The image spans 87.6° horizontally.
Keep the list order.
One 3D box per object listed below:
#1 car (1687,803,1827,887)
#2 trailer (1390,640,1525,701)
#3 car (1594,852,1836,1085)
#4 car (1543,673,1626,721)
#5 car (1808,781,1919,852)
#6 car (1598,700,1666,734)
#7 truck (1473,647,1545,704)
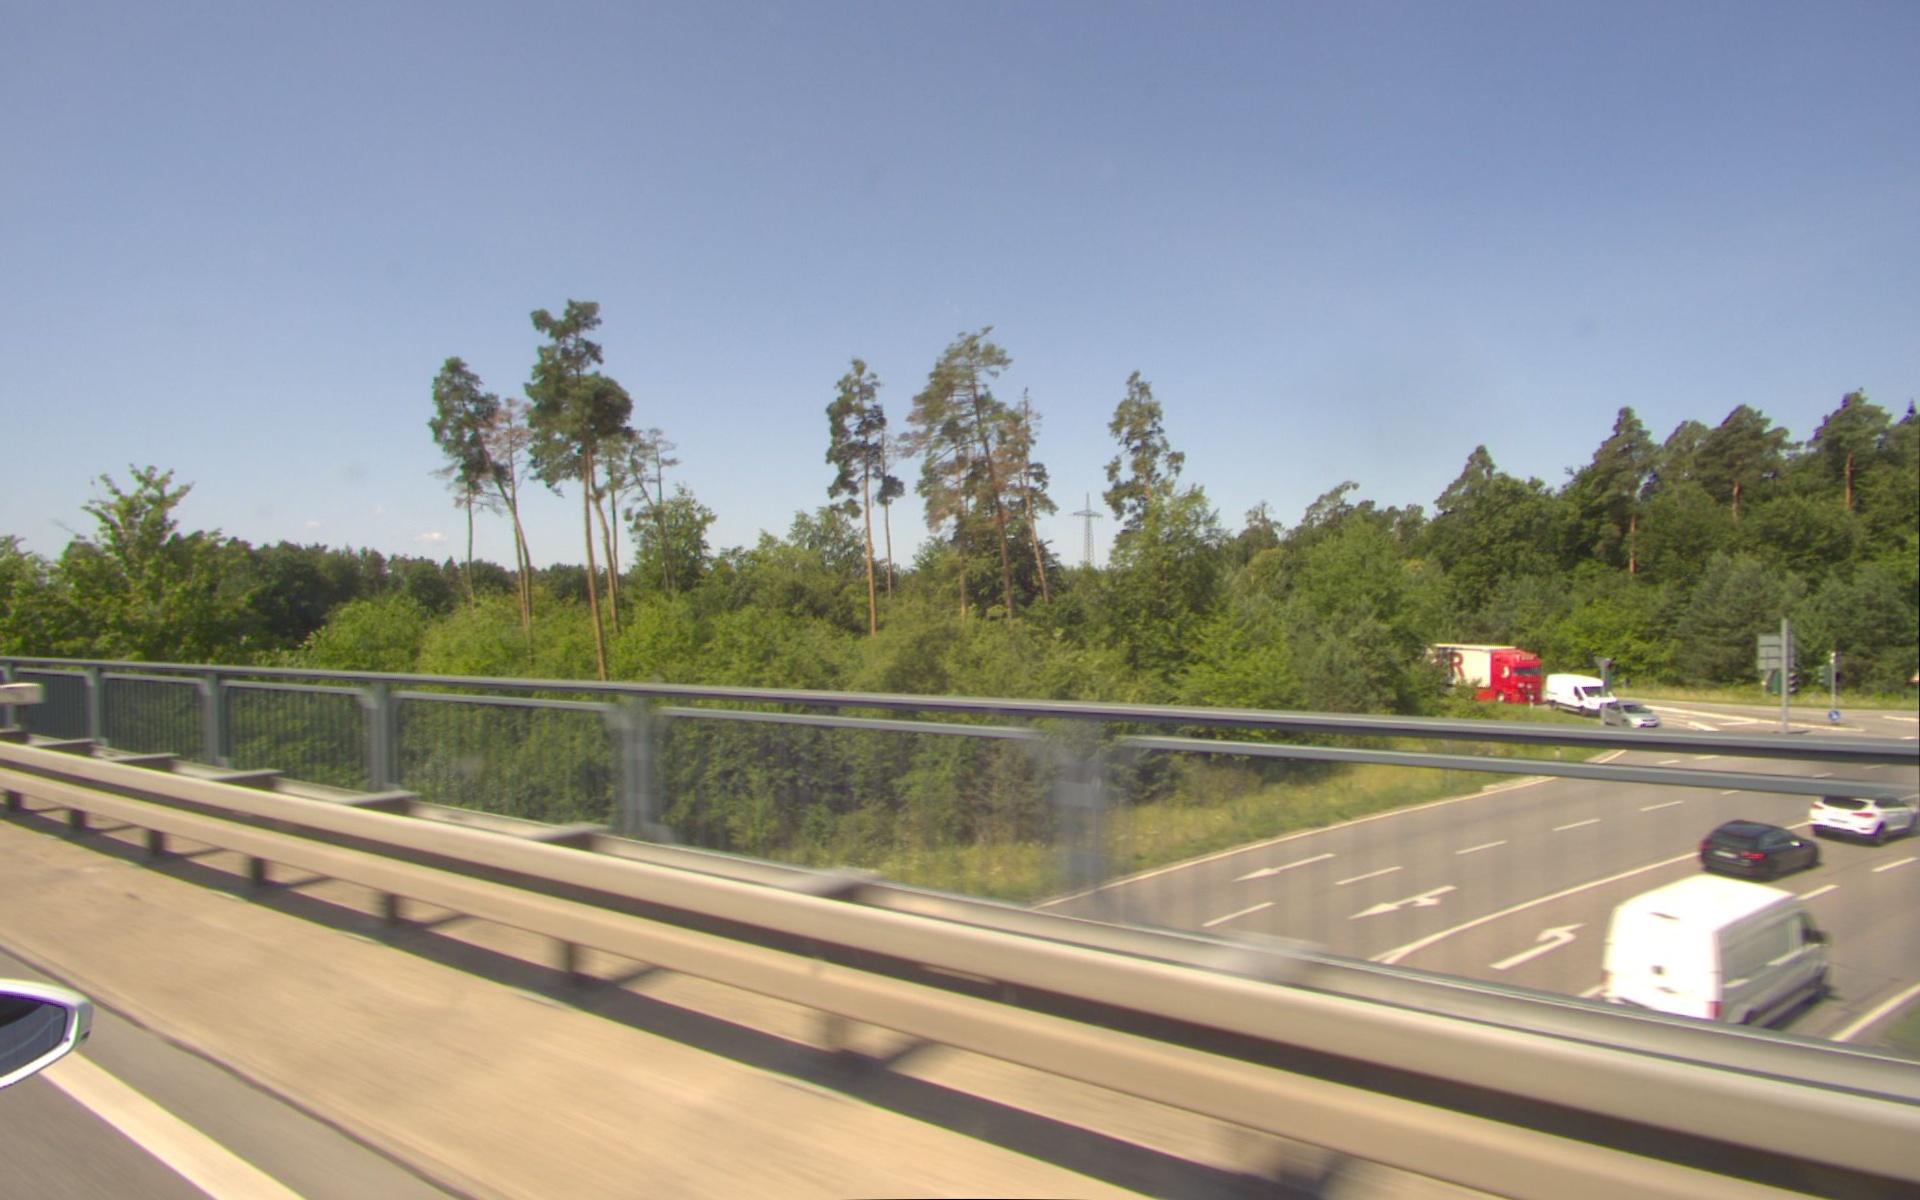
[{"bbox_3d":[24.577,7.471,30.862,4.302,1.655,1.748,0,3,-28],"label":"car"},{"bbox_3d":[39.381,5.442,80.136,2.218,3.705,13.148,3,0,-10],"label":"trailer"},{"bbox_3d":[15.484,7.208,20.386,6.269,2.687,2.022,-2,2,-34],"label":"car"},{"bbox_3d":[41.233,6.365,66.333,1.961,2.567,5.438,3,0,0],"label":"car"},{"bbox_3d":[31.410,7.411,34.596,4.070,1.655,1.748,0,3,-28],"label":"car"},{"bbox_3d":[39.995,6.943,59.736,1.732,1.463,3.778,3,0,6],"label":"car"},{"bbox_3d":[40.468,5.524,73.950,2.189,3.705,4.418,3,1,-10],"label":"truck"}]
